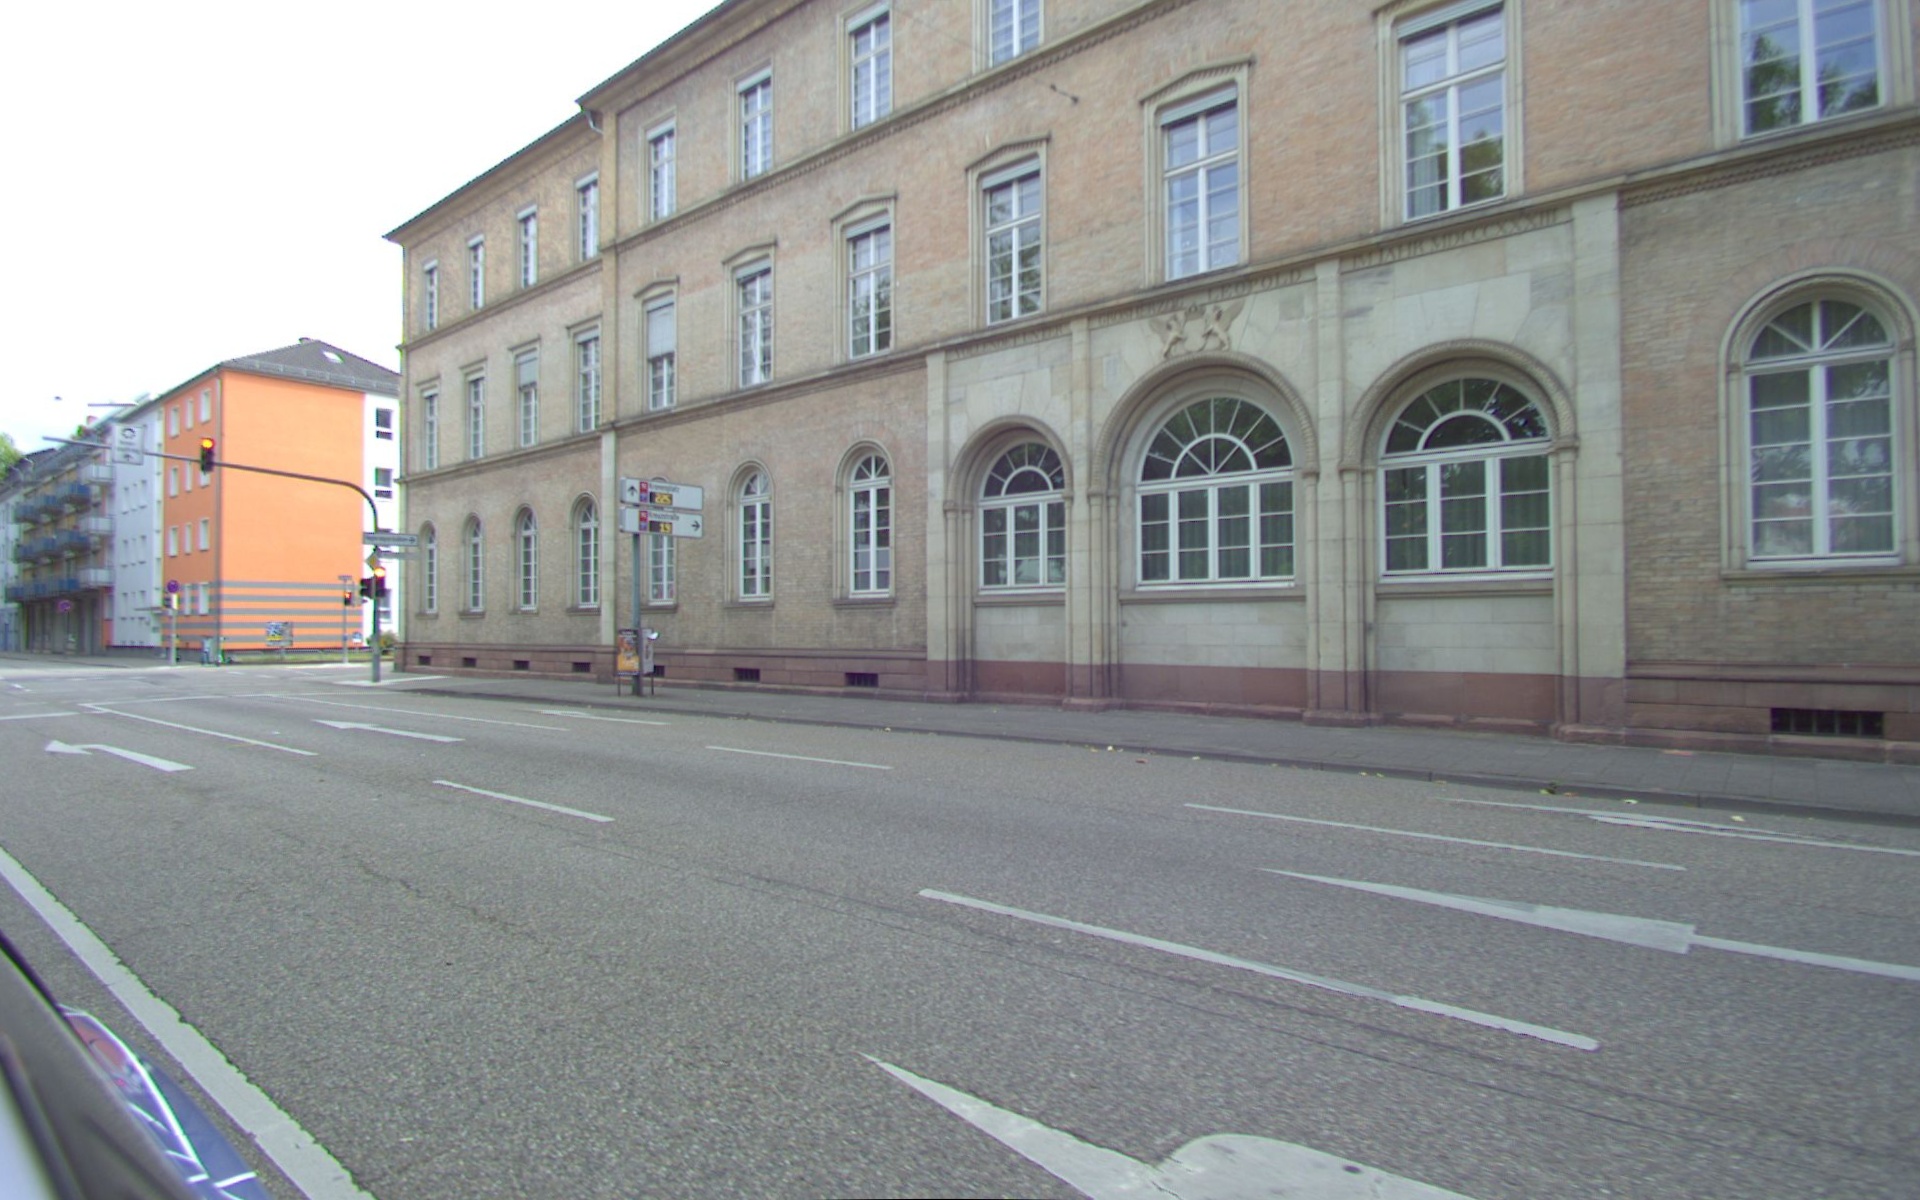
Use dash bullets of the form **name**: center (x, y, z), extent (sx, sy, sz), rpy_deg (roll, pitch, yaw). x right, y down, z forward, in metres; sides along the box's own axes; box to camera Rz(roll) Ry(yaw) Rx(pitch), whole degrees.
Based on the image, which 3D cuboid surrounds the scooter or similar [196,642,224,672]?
- **scooter or similar**: center (-29.936, 2.270, 40.405), extent (1.336, 1.188, 0.327), rpy_deg (-2, -1, 27)

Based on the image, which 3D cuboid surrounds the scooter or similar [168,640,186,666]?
- **scooter or similar**: center (-34.864, 2.342, 45.040), extent (1.353, 1.133, 0.365), rpy_deg (-2, -1, 41)

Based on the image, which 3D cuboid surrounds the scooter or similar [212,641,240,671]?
- **scooter or similar**: center (-29.720, 2.277, 40.973), extent (1.347, 1.166, 0.327), rpy_deg (-2, -1, 27)
